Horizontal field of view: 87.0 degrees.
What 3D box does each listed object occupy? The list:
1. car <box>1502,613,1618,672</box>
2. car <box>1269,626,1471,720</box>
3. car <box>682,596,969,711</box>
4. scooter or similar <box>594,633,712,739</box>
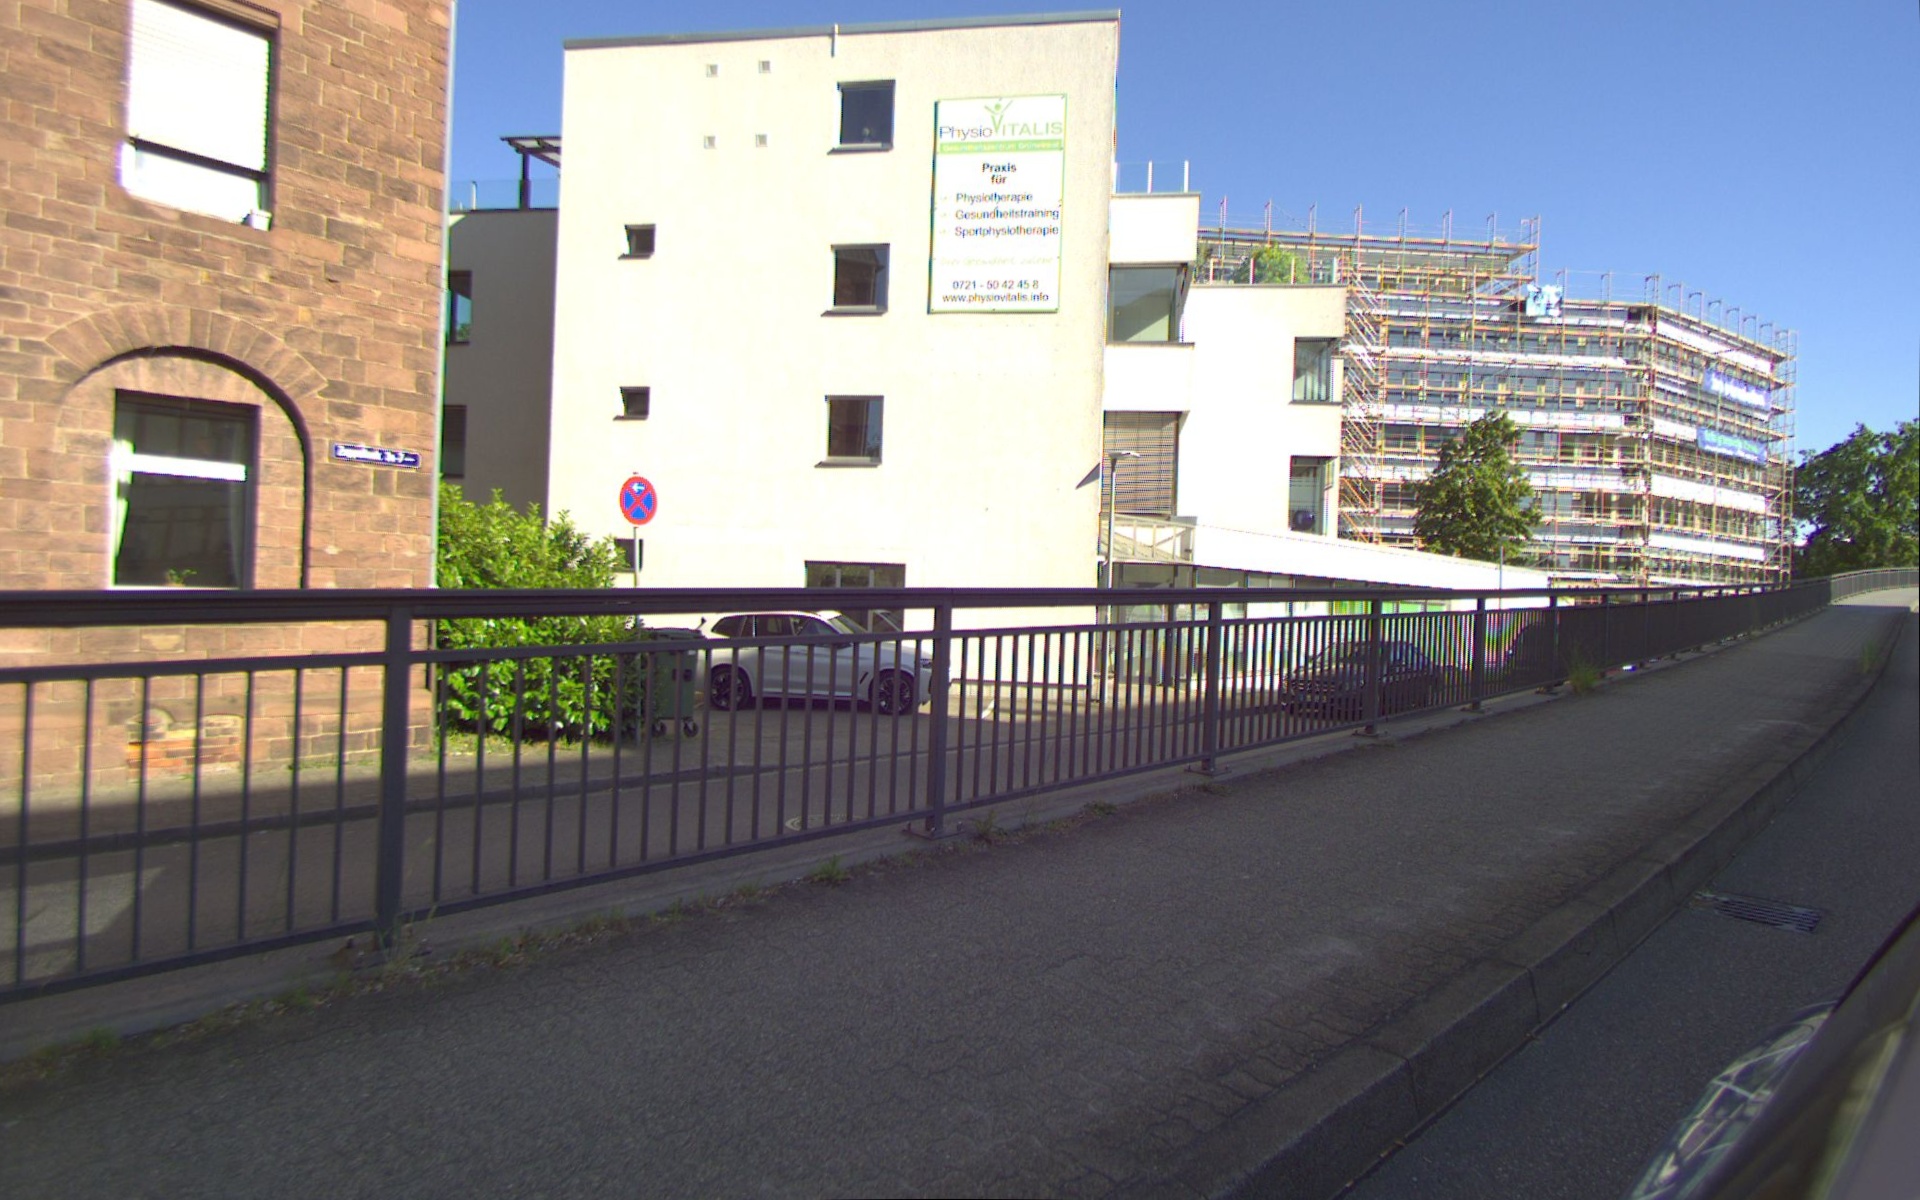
[{"bbox_3d":[17.711,1.206,29.819,3.931,1.554,1.847,1,1,-43],"label":"car"},{"bbox_3d":[8.145,1.337,19.922,4.601,1.448,1.847,-1,1,-42],"label":"car"},{"bbox_3d":[-2.219,0.843,17.336,4.570,1.789,1.825,0,1,8],"label":"car"},{"bbox_3d":[-3.894,1.049,12.812,1.456,1.235,0.773,-1,-2,41],"label":"scooter or similar"}]
